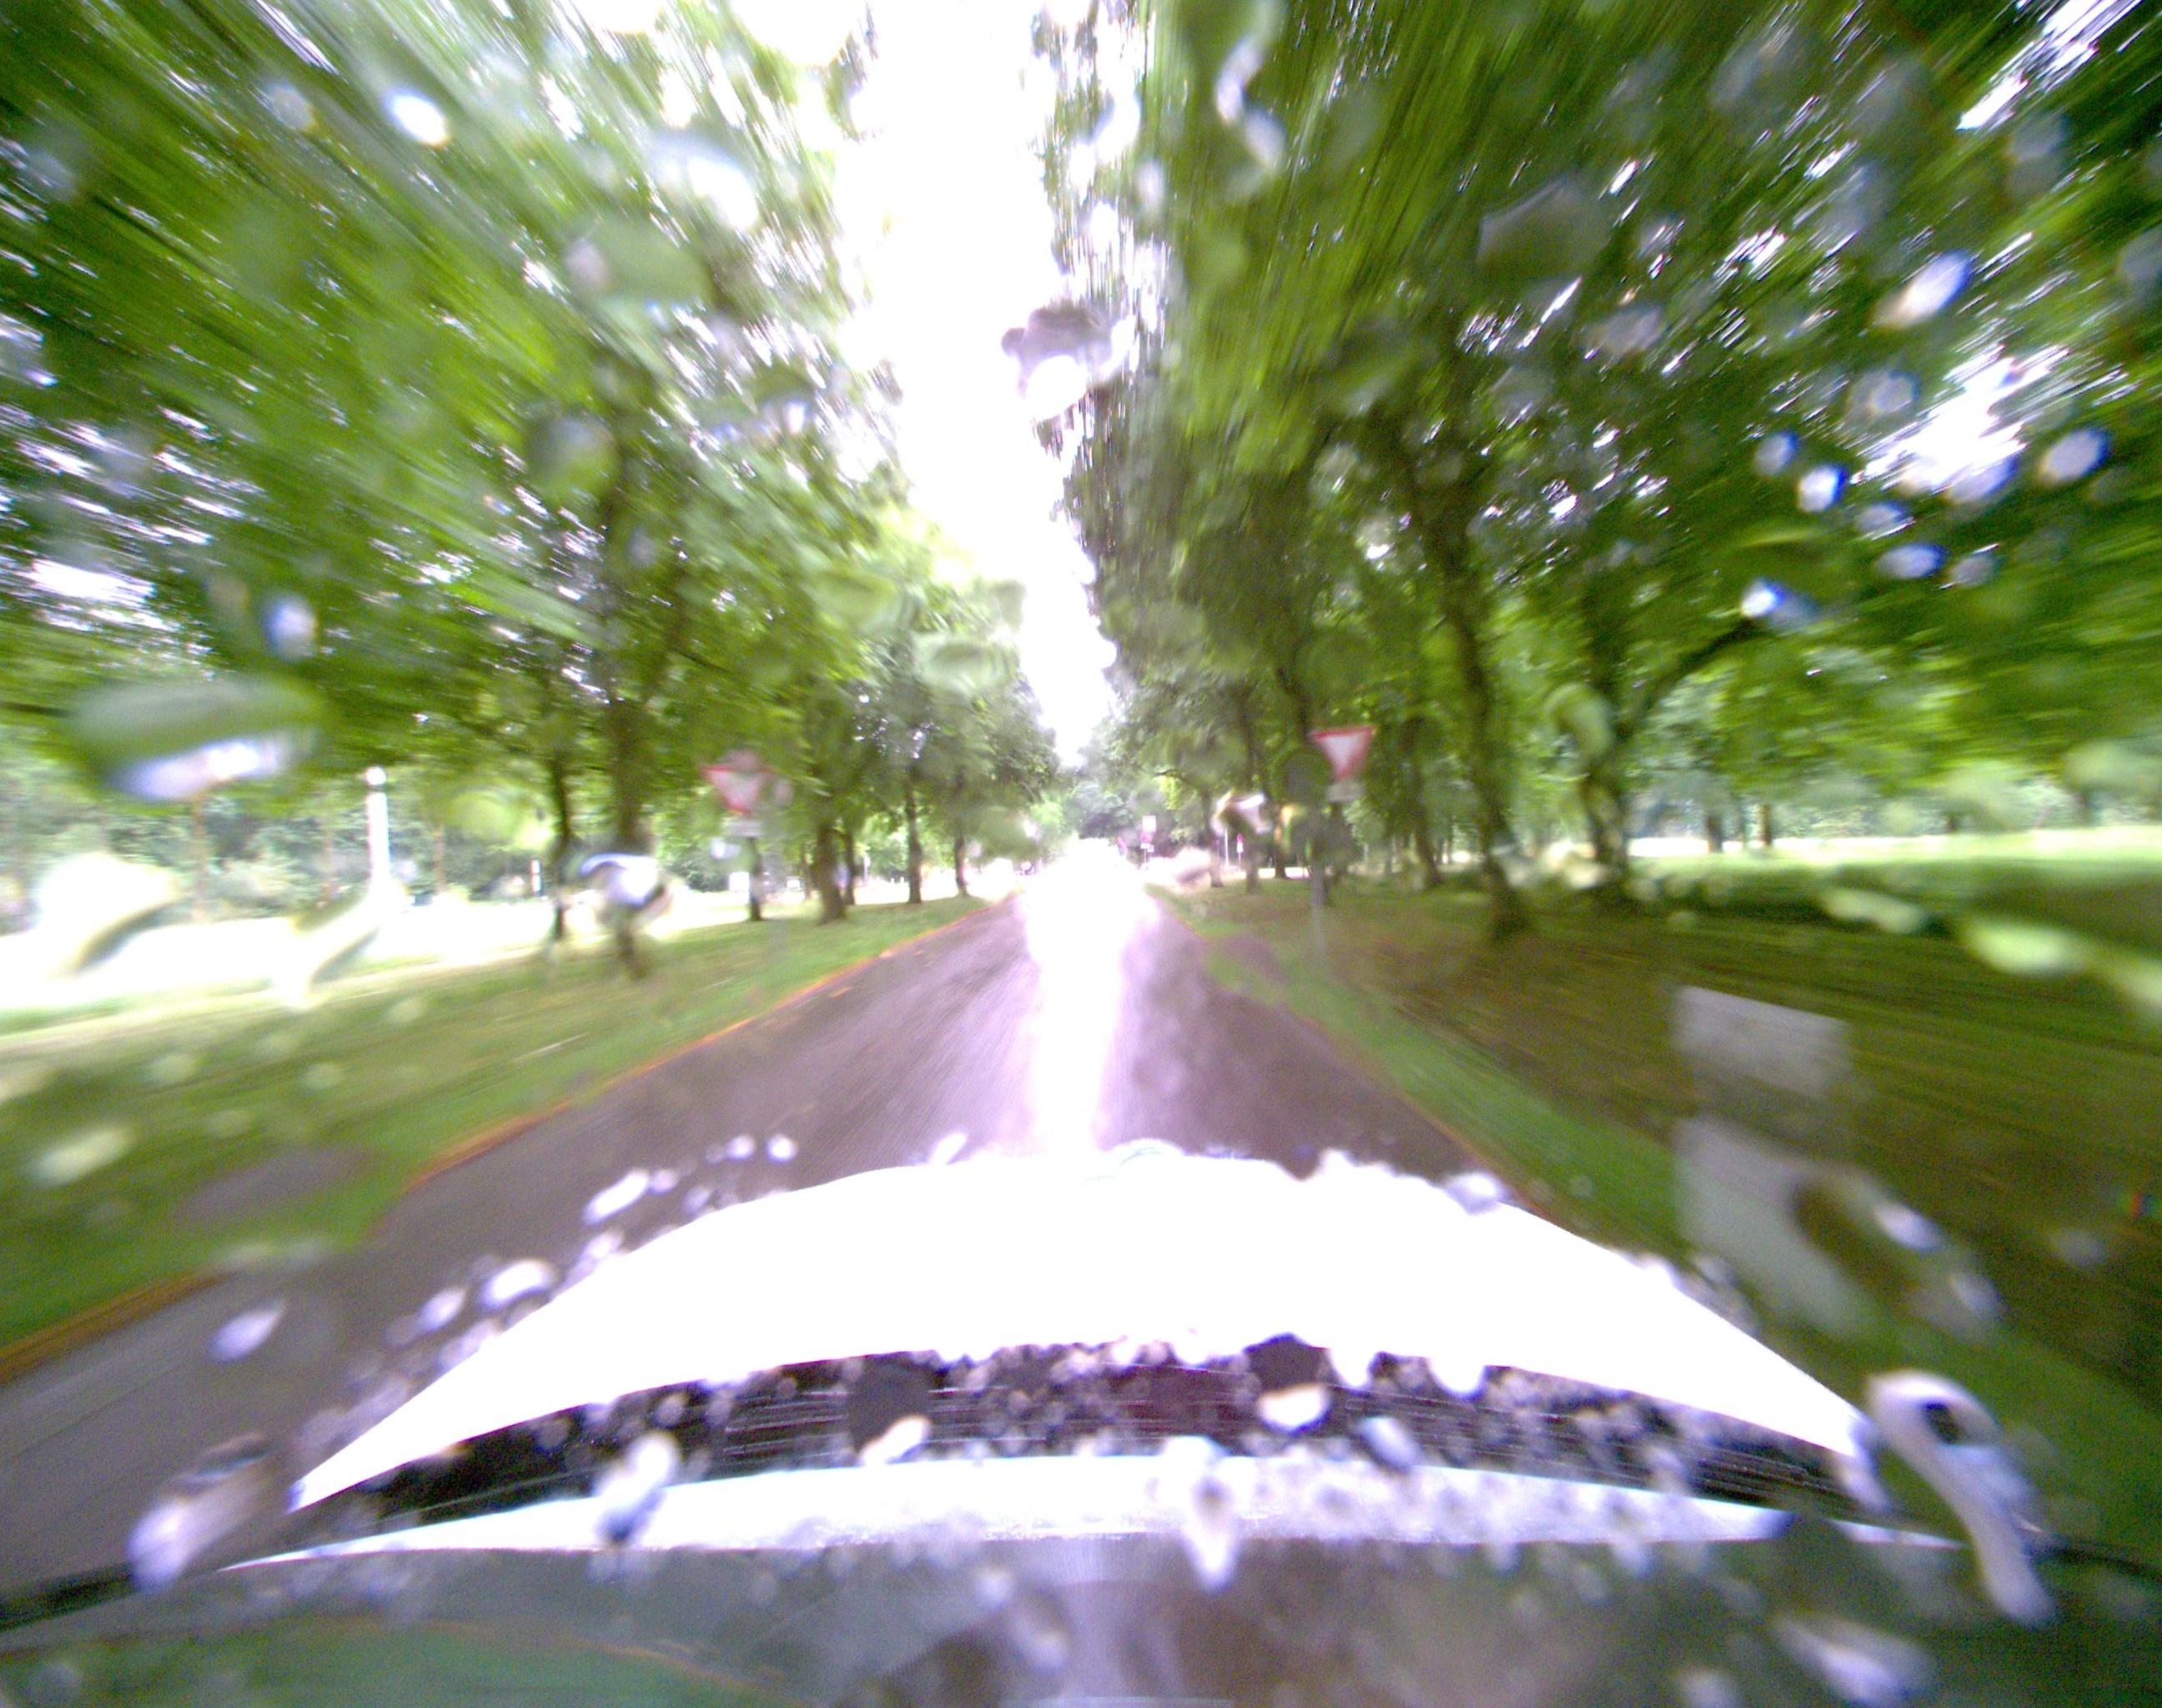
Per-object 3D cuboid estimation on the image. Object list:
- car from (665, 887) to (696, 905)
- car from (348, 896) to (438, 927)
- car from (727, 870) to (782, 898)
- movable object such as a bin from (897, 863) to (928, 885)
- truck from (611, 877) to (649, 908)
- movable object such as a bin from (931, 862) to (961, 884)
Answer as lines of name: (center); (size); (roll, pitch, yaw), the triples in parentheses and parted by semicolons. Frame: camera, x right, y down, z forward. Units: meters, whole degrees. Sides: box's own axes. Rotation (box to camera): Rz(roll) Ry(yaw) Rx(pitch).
car: (-35.044, 3.645, 71.345); (1.767, 1.429, 4.082); (-3, -1, -17)
car: (-49.479, 4.111, 58.645); (4.567, 1.708, 1.723); (-4, 0, -14)
car: (-30.434, 2.816, 75.873); (5.907, 2.408, 2.407); (-4, -3, 42)
movable object such as a bin: (-26.880, 3.161, 130.107); (4.656, 3.294, 3.899); (-3, -1, -10)
truck: (-38.586, 3.282, 69.768); (1.872, 2.443, 3.334); (-3, -1, -13)
movable object such as a bin: (-21.846, 3.123, 131.703); (4.582, 3.294, 3.653); (-3, -1, -10)
